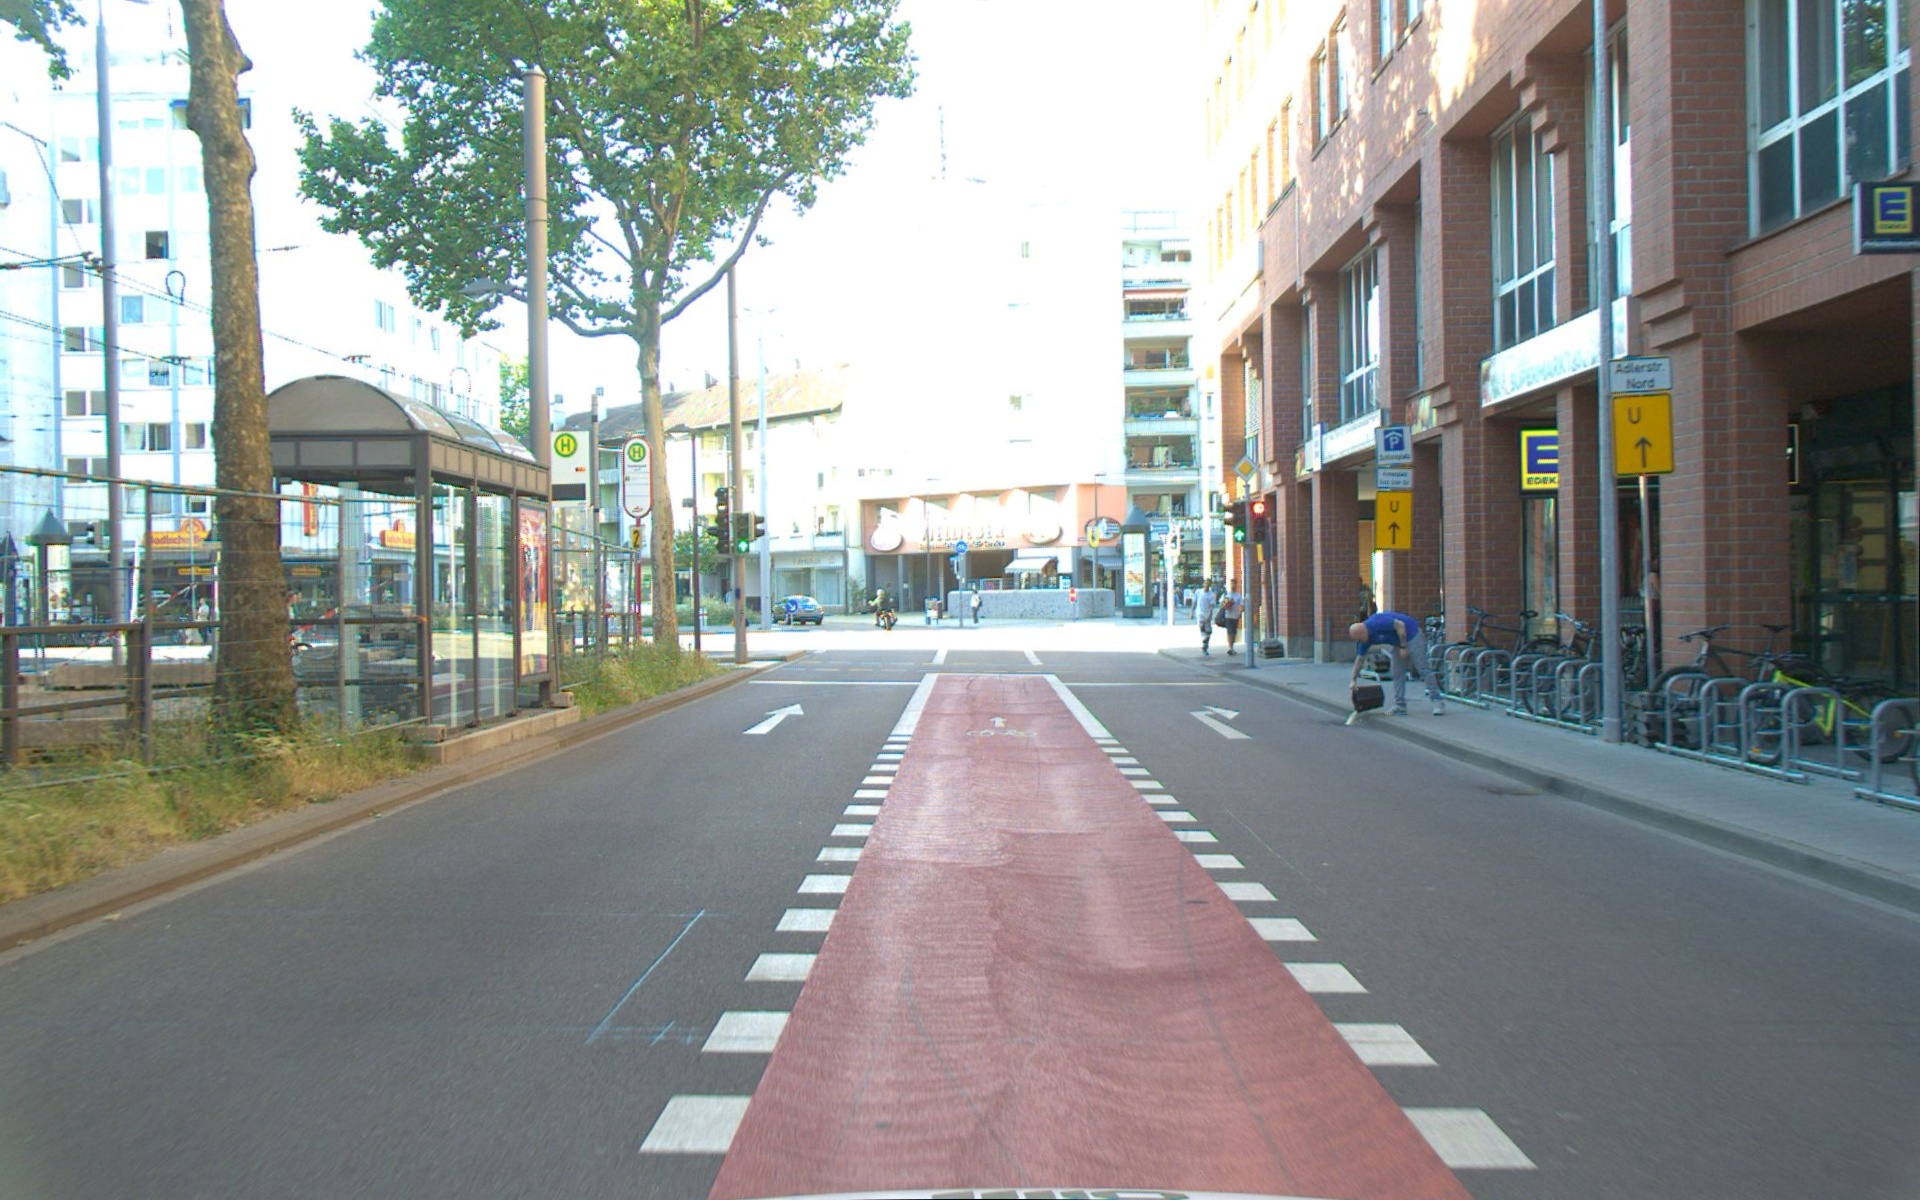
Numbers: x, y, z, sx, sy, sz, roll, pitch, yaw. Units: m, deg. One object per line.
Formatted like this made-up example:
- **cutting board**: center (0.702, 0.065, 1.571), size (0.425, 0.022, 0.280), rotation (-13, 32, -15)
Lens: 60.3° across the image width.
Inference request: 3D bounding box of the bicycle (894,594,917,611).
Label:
- **bicycle**: center (-3.427, 0.165, 104.399), size (0.492, 1.057, 1.612), rotation (0, 0, -44)

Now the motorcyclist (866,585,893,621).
- **motorcyclist**: center (-3.082, 0.105, 63.162), size (0.952, 1.370, 1.136), rotation (0, 0, -8)

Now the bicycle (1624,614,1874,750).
- **bicycle**: center (7.000, 0.721, 14.728), size (1.892, 1.075, 0.573), rotation (-3, 0, 3)

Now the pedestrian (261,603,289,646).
- **pedestrian**: center (-28.101, 0.990, 67.836), size (0.788, 1.754, 0.776), rotation (-1, 0, 1)

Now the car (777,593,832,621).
- **car**: center (-8.060, 0.349, 85.299), size (1.895, 1.413, 3.976), rotation (-1, 0, -20)

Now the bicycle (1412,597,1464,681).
- **bicycle**: center (7.196, 0.563, 24.944), size (0.332, 1.204, 1.679), rotation (-1, 0, 2)

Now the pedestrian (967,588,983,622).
- **pedestrian**: center (0.716, 0.243, 78.165), size (0.536, 1.611, 0.548), rotation (-1, 0, -42)

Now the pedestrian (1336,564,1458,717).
- **pedestrian**: center (5.223, 0.476, 19.830), size (1.170, 1.726, 0.886), rotation (-3, 0, 3)

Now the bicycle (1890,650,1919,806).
- **bicycle**: center (6.866, 0.777, 10.472), size (1.578, 0.971, 0.555), rotation (-4, 0, 2)

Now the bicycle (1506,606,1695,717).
- **bicycle**: center (6.978, 0.668, 18.056), size (1.852, 1.138, 0.475), rotation (-2, 0, 0)

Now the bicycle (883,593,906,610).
- **bicycle**: center (-4.127, 0.103, 103.973), size (0.492, 1.057, 1.612), rotation (0, 0, -44)

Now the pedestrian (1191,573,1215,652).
- **pedestrian**: center (5.653, 0.282, 38.514), size (0.466, 1.824, 0.541), rotation (-1, 0, 0)

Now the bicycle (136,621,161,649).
- **bicycle**: center (-32.811, 1.409, 66.858), size (0.585, 1.071, 1.996), rotation (-1, 1, -17)

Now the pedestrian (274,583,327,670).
- **pedestrian**: center (-13.680, 0.542, 34.331), size (0.762, 1.765, 0.848), rotation (-1, 0, -3)

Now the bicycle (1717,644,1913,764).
- **bicycle**: center (6.837, 0.825, 13.253), size (1.306, 0.856, 0.425), rotation (-4, 0, 2)

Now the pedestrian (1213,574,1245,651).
- **pedestrian**: center (6.191, 0.282, 38.092), size (0.620, 1.755, 0.630), rotation (-1, 0, 0)

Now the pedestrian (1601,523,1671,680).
- **pedestrian**: center (9.061, 0.017, 22.177), size (0.595, 2.049, 0.660), rotation (-1, 0, -5)

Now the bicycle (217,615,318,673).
- **bicycle**: center (-13.783, 0.876, 32.941), size (1.791, 1.097, 0.481), rotation (-1, 0, 1)

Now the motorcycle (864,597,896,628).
- **motorcycle**: center (-3.058, 0.469, 63.068), size (0.955, 1.151, 2.800), rotation (0, 0, -8)

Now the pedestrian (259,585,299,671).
- **pedestrian**: center (-13.772, 0.562, 33.448), size (0.554, 1.709, 0.531), rotation (-1, 0, 2)

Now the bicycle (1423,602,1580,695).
- **bicycle**: center (7.026, 0.625, 21.492), size (1.852, 1.138, 0.475), rotation (-2, 0, 0)

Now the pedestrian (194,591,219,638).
- **pedestrian**: center (-29.694, 0.562, 65.195), size (0.615, 1.823, 0.785), rotation (0, 0, 2)

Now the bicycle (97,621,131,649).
- **bicycle**: center (-33.916, 1.394, 66.313), size (0.583, 1.071, 2.003), rotation (-1, 1, -8)

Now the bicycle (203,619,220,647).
- **bicycle**: center (-30.521, 1.336, 67.448), size (0.587, 1.071, 1.990), rotation (-1, 1, -25)

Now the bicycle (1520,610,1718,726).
- **bicycle**: center (6.947, 0.710, 17.475), size (1.852, 1.138, 0.550), rotation (-2, 0, 0)
